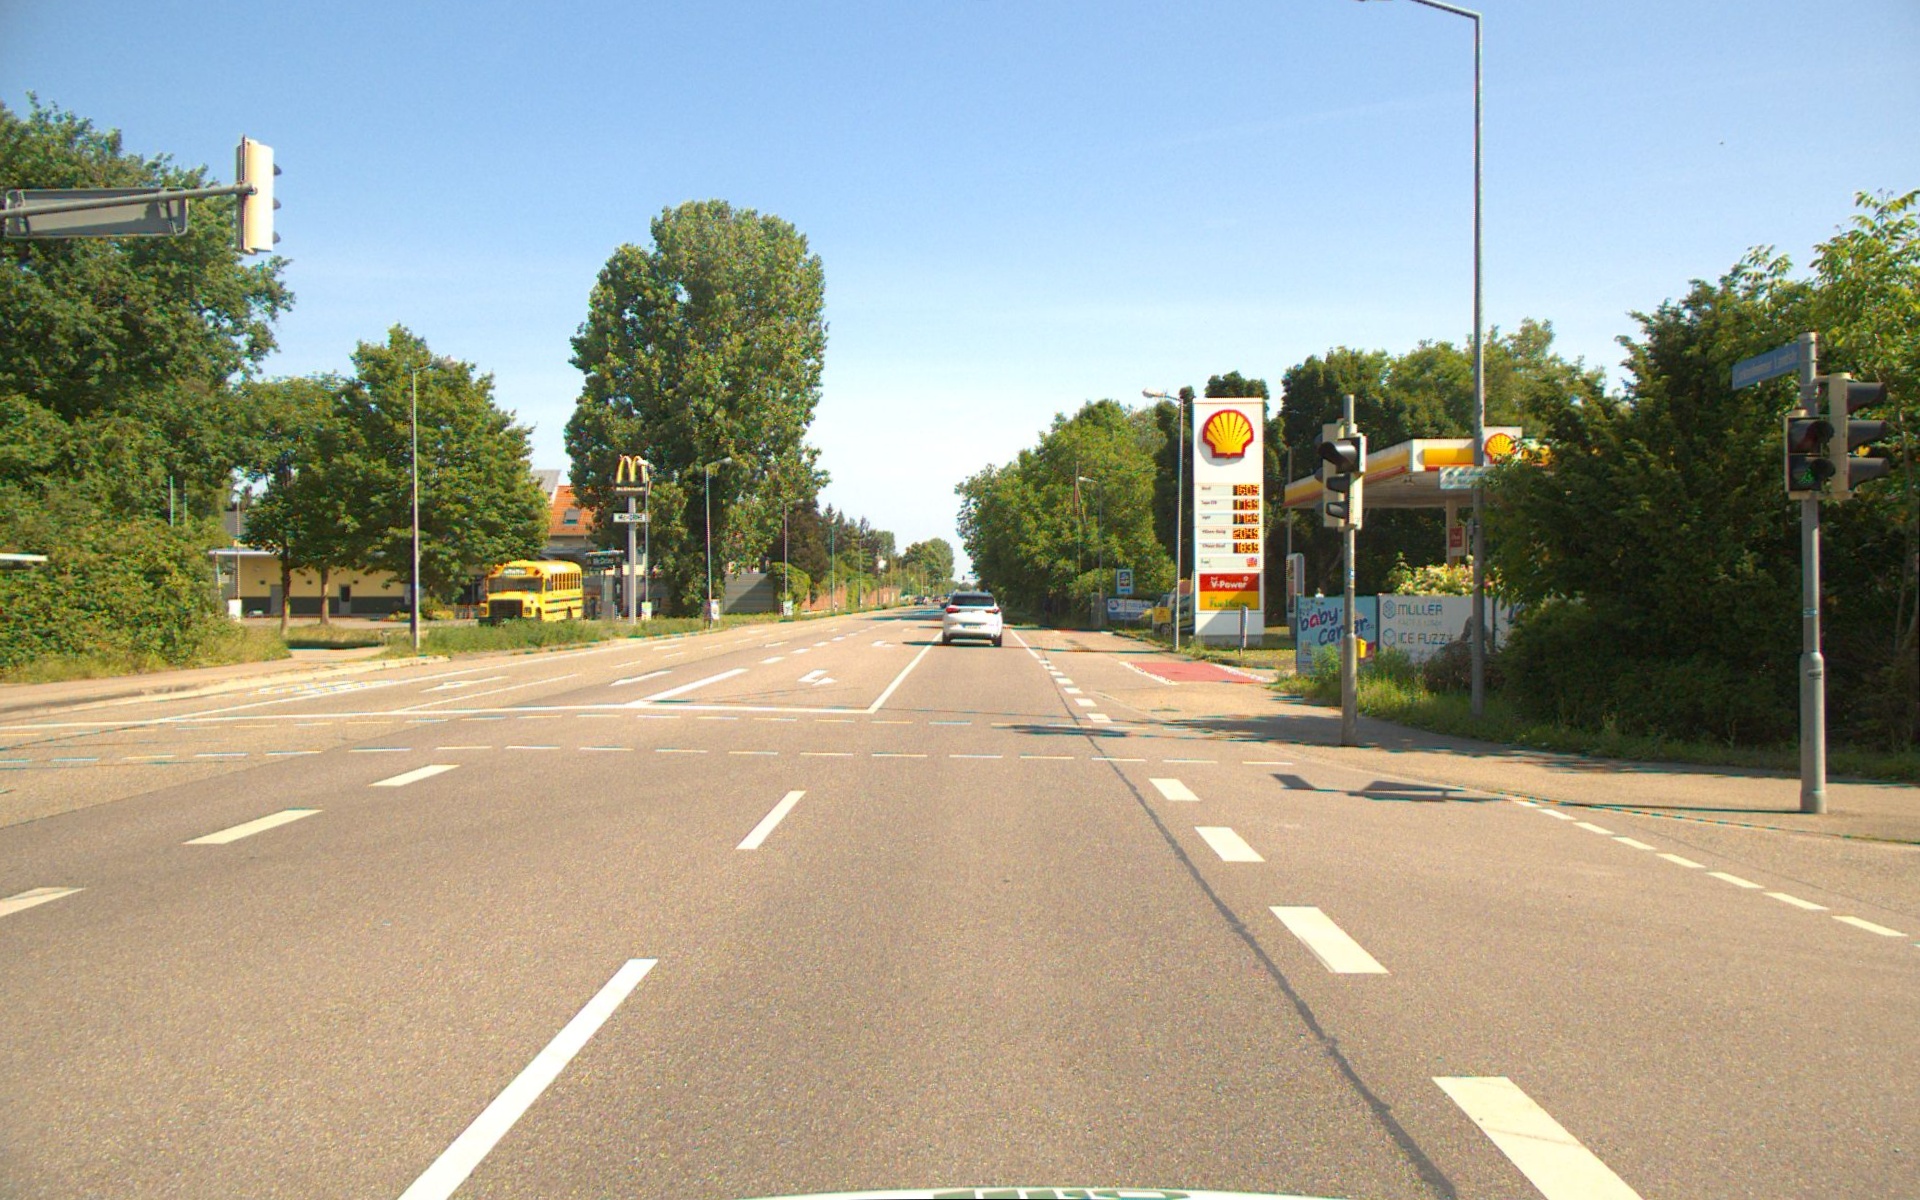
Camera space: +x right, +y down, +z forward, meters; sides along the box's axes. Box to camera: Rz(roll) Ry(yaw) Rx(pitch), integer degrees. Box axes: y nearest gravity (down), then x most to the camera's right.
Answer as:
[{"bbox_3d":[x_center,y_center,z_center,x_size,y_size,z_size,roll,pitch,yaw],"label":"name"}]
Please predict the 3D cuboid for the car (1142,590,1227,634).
[{"bbox_3d":[8.132,0.448,60.054,2.685,1.557,1.566,0,-2,45],"label":"car"}]

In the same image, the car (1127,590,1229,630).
[{"bbox_3d":[8.998,0.414,68.490,3.911,1.557,1.583,1,0,-7],"label":"car"}]

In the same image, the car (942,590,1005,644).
[{"bbox_3d":[0.424,0.511,50.738,1.809,1.568,4.225,1,0,1],"label":"car"}]

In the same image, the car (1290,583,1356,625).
[{"bbox_3d":[16.354,0.182,74.761,1.953,1.796,3.998,1,0,-2],"label":"car"}]

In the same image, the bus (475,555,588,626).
[{"bbox_3d":[-17.808,-0.347,69.383,2.527,2.726,8.994,1,0,-1],"label":"bus"}]
